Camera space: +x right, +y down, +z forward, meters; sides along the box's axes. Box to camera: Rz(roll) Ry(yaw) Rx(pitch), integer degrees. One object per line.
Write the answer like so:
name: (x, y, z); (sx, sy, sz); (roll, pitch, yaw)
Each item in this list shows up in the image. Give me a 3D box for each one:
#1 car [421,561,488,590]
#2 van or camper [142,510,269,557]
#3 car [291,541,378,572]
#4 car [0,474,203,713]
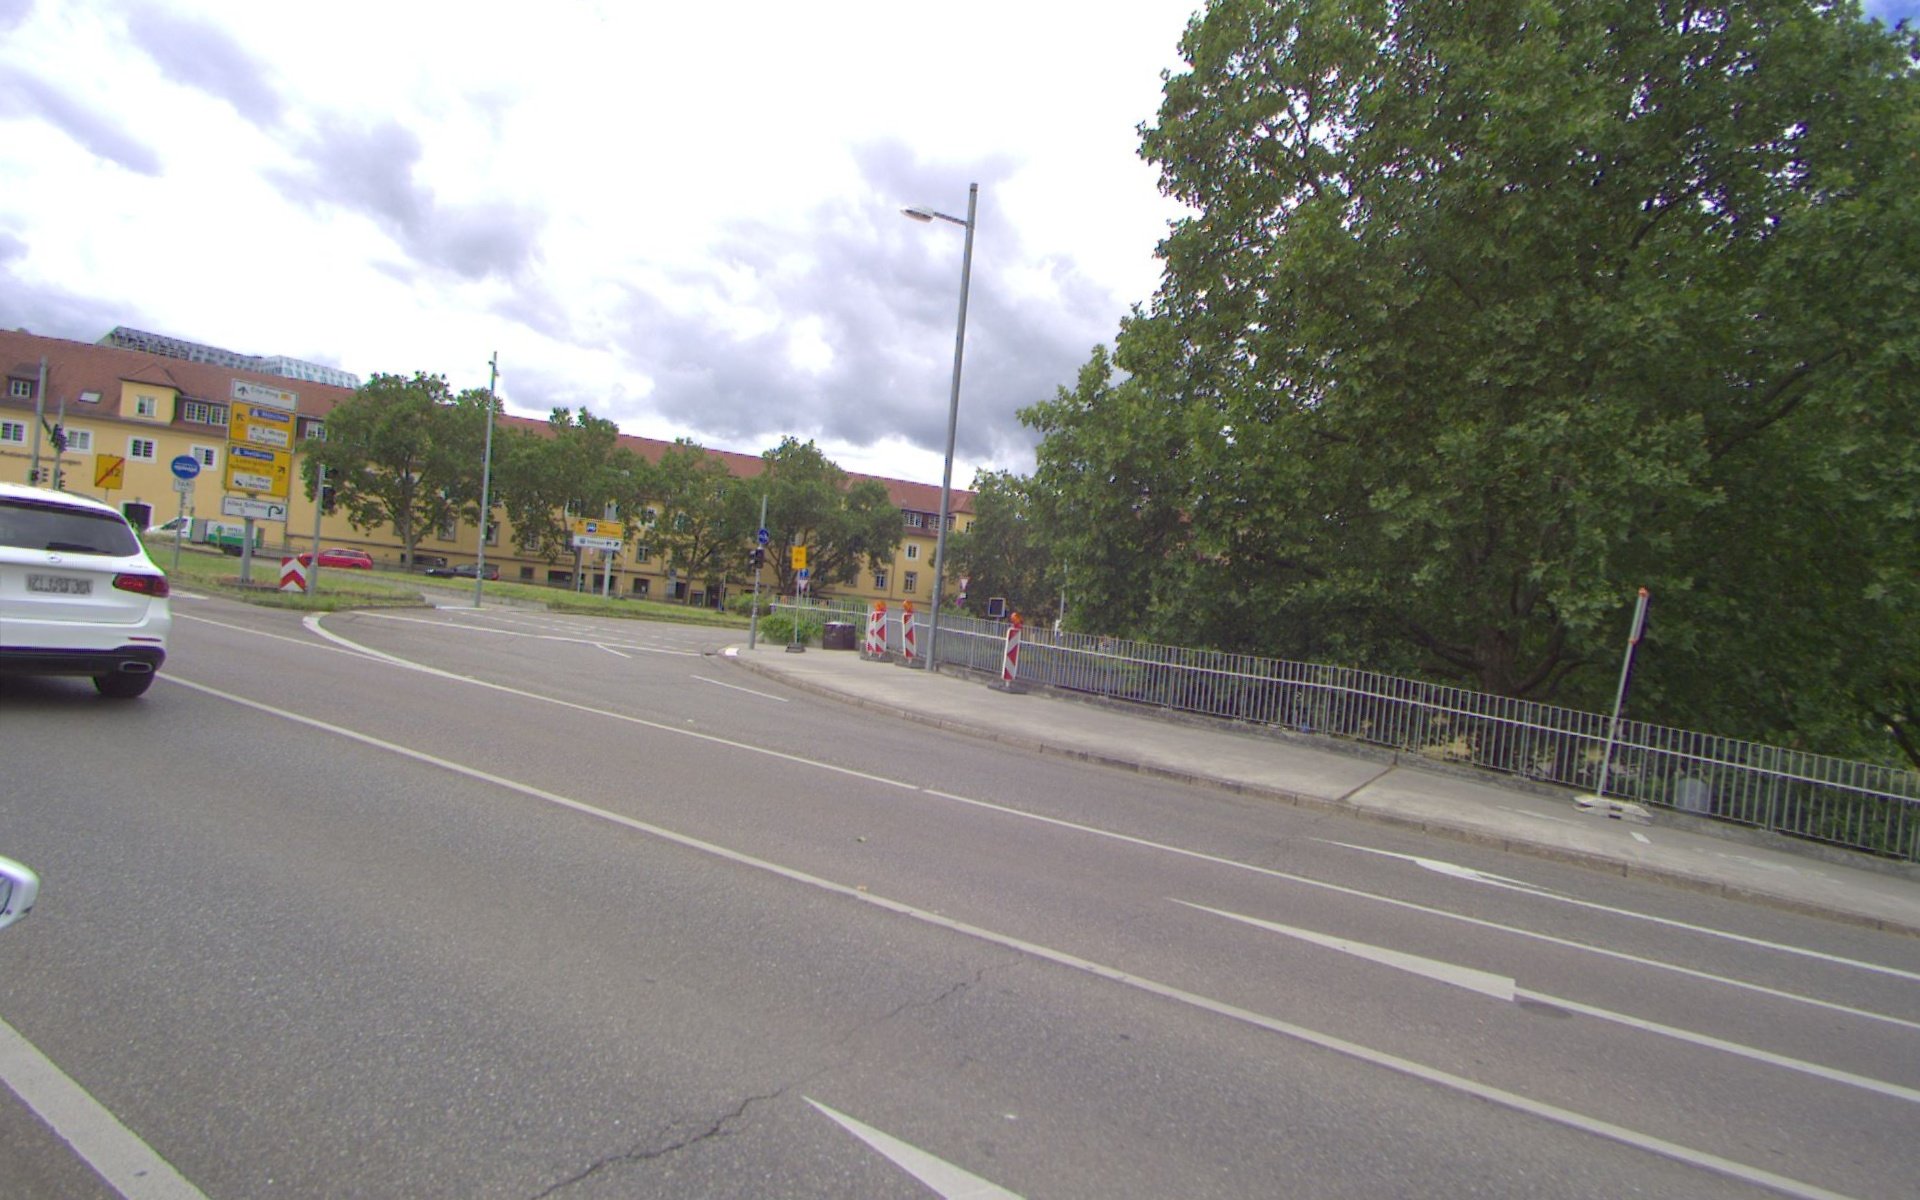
car: (-35.110, -1.707, 69.952); (4.042, 1.430, 1.648); (8, -1, -27)
van or camper: (-47.582, -4.130, 63.648); (5.947, 2.038, 2.009); (8, -1, -24)
car: (-41.345, -2.856, 66.625); (4.638, 1.437, 1.586); (8, -1, -27)
car: (-8.443, -0.242, 8.355); (4.305, 1.667, 1.822); (7, -1, 31)
